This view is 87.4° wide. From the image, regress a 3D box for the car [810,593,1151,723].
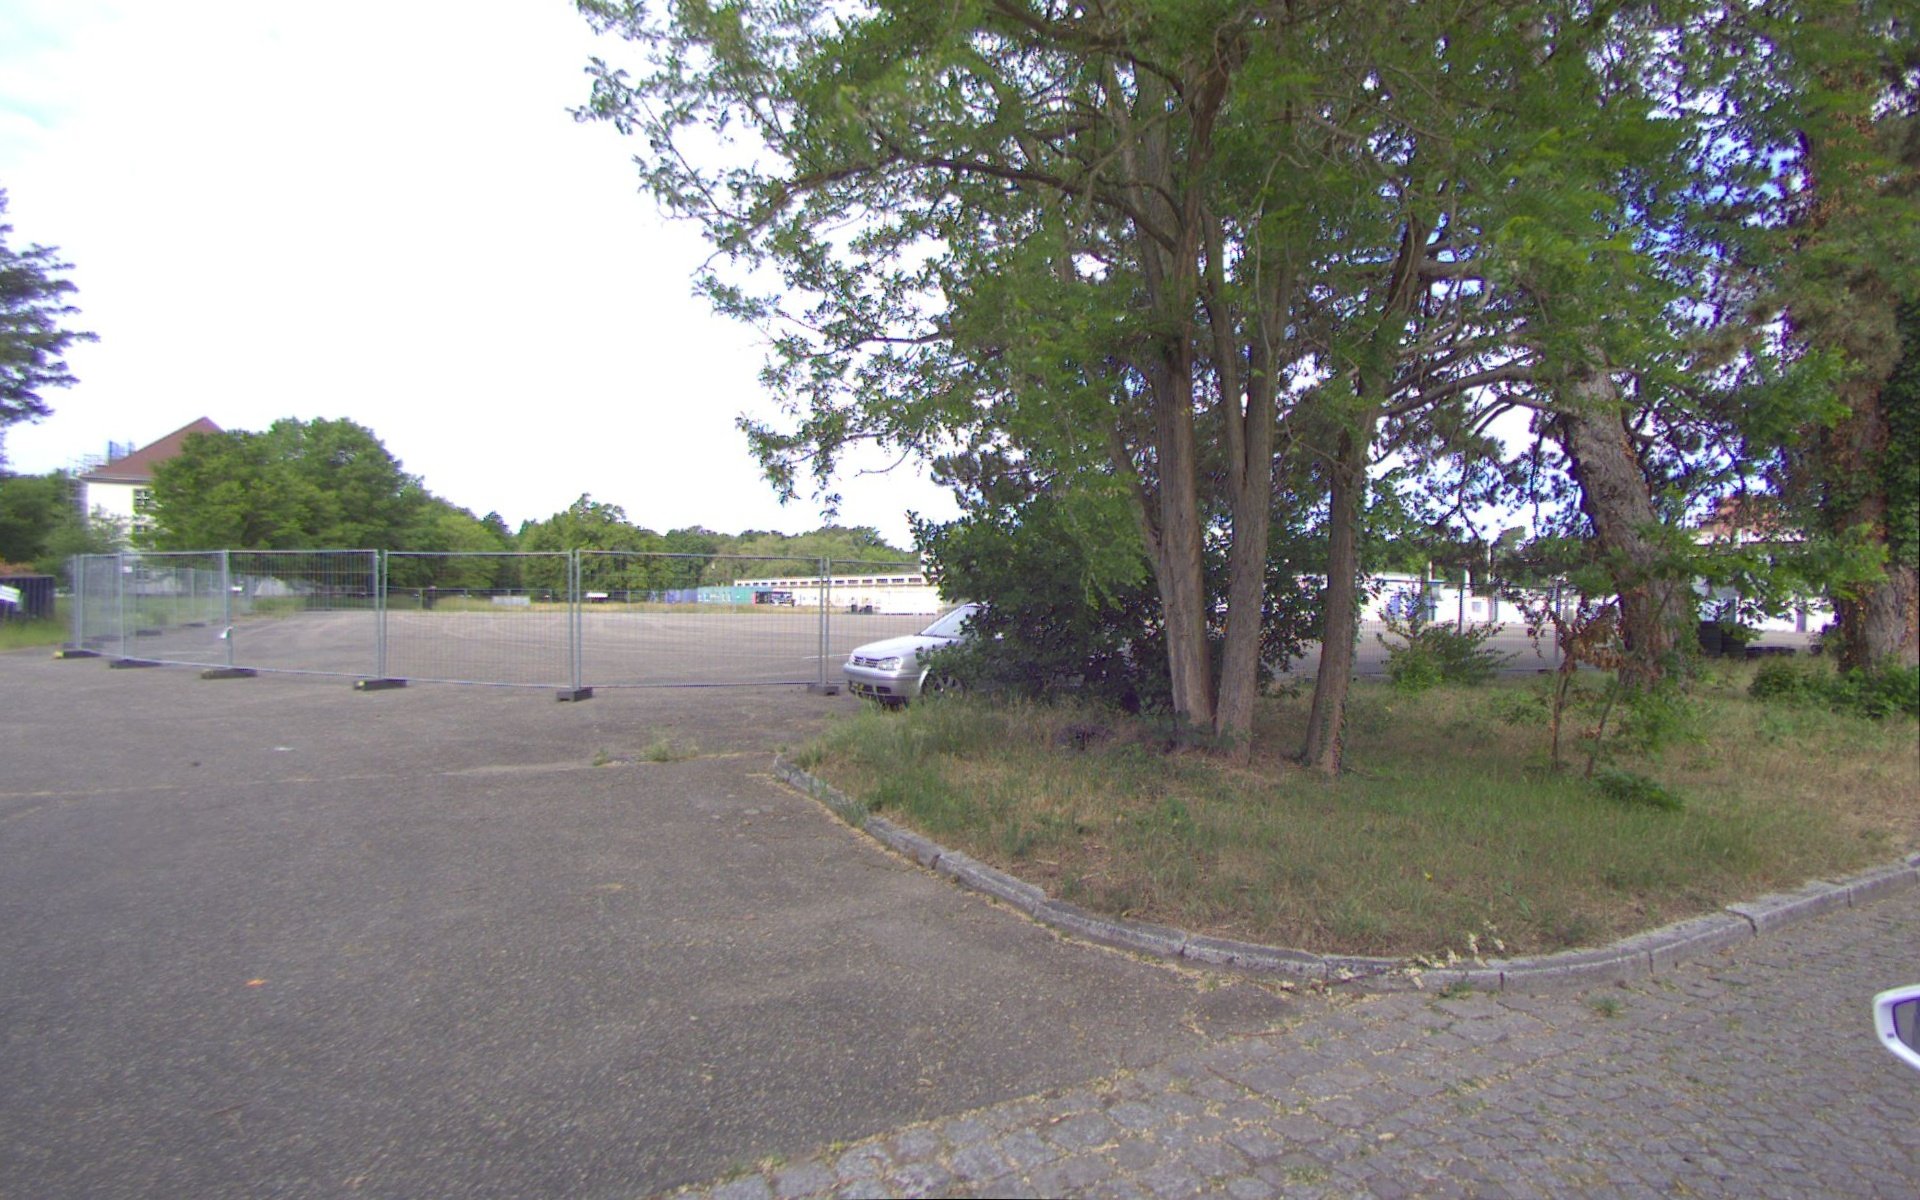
[{"bbox_3d":[0.340,0.693,13.635,4.322,1.496,1.908,1,1,-33],"label":"car"}]
